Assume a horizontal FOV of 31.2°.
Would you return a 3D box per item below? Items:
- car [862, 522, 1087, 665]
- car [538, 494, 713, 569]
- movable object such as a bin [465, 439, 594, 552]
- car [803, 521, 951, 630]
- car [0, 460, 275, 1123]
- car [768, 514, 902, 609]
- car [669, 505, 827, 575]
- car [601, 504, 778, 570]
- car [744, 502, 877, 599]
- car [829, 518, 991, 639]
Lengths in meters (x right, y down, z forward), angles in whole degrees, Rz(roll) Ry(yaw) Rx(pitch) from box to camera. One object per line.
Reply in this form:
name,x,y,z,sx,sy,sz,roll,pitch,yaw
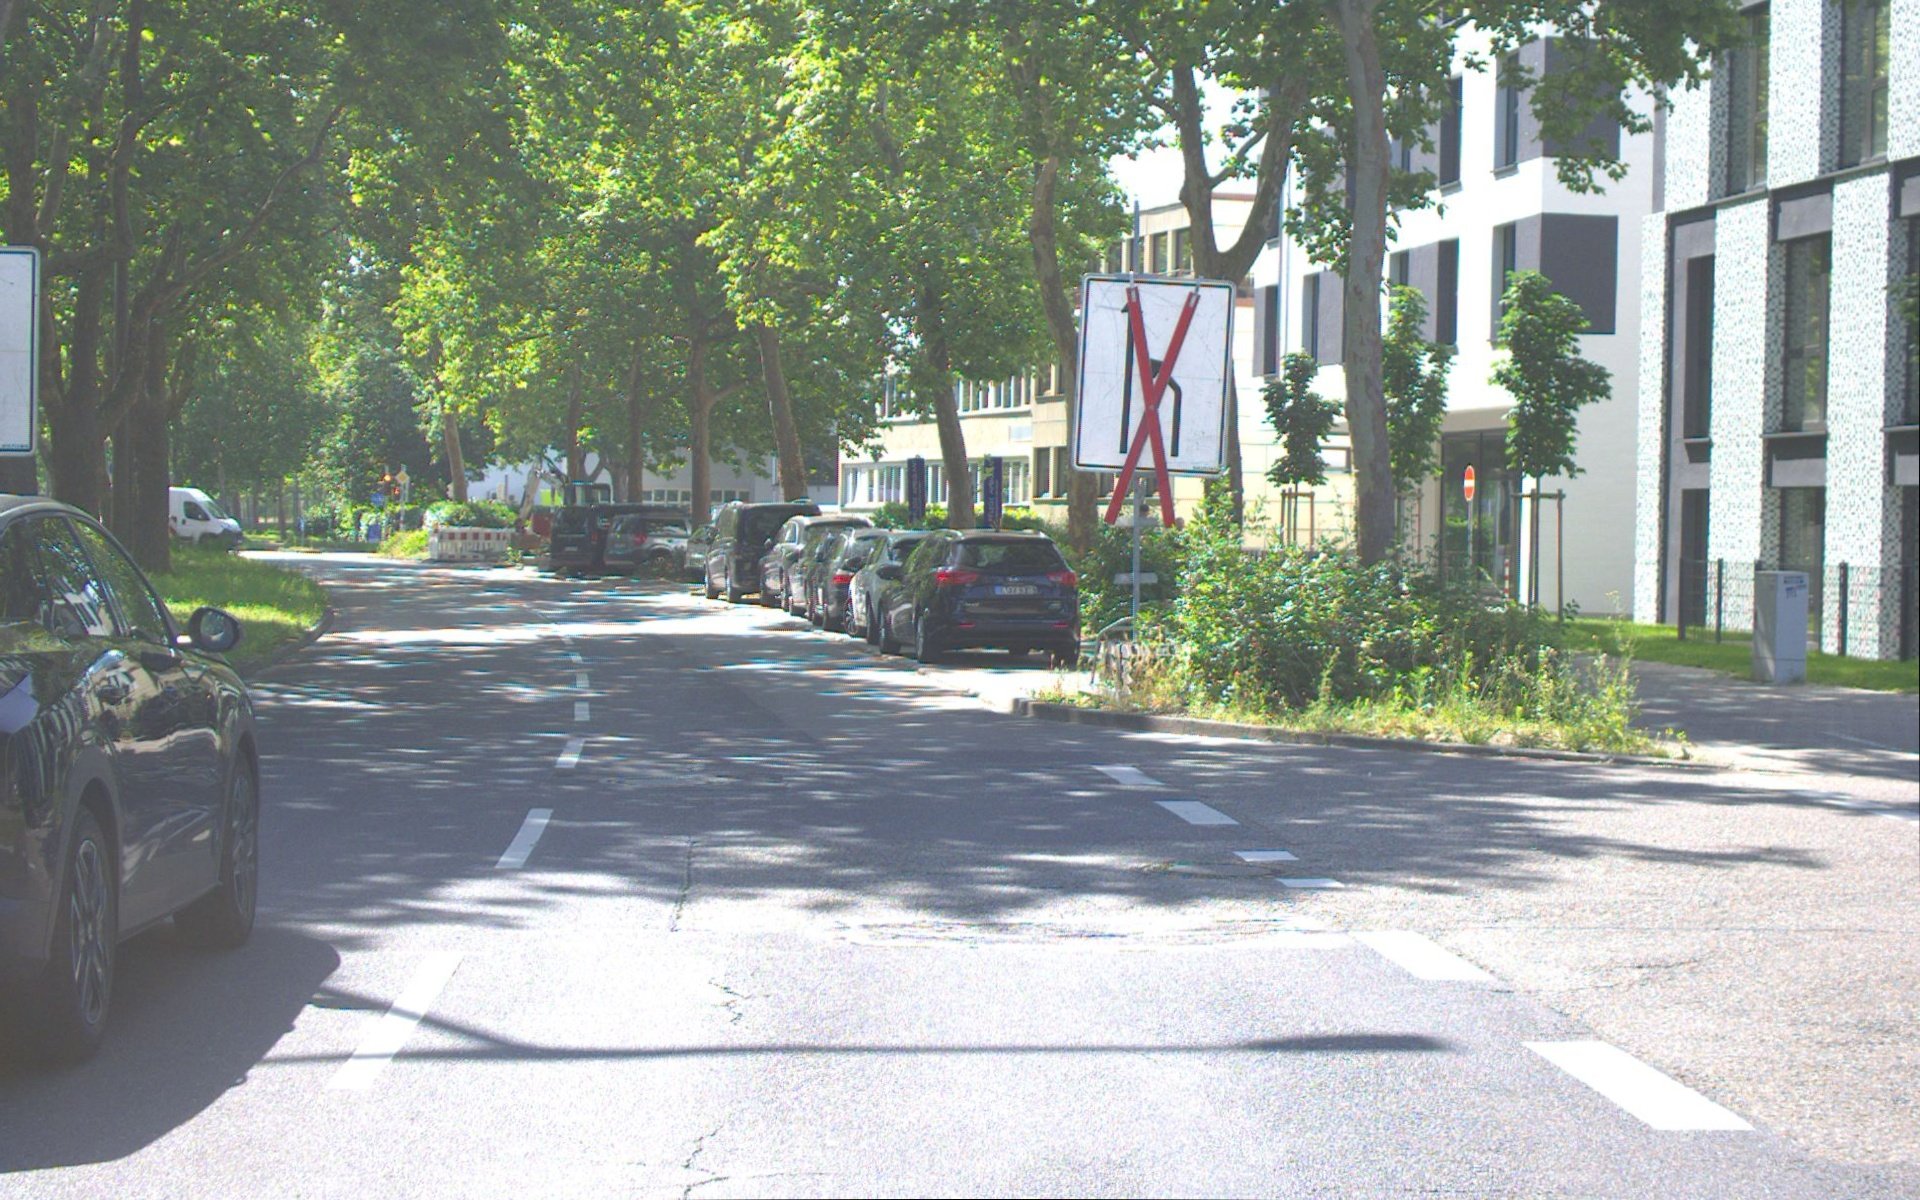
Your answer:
car,0.098,-0.125,39.202,1.706,1.482,4.720,-1,2,-11
car,-8.605,-1.763,88.495,4.099,1.873,1.785,0,2,-28
movable object such as a bin,-12.583,-3.061,100.457,2.328,3.229,3.430,0,2,-36
car,-1.256,-0.389,49.813,1.706,1.450,4.657,1,2,-7
car,-3.445,0.457,10.926,1.872,1.690,4.436,0,1,-3
car,-2.138,-0.669,57.543,1.706,1.482,4.486,0,2,-9
car,-5.116,-1.445,82.830,3.551,1.634,1.660,0,1,-14
car,-6.834,-1.591,86.783,4.099,1.627,1.713,0,2,-27
car,-2.749,-0.923,62.278,1.706,1.664,4.535,0,2,-12
car,-0.705,-0.318,45.062,1.706,1.482,4.102,1,2,-7
